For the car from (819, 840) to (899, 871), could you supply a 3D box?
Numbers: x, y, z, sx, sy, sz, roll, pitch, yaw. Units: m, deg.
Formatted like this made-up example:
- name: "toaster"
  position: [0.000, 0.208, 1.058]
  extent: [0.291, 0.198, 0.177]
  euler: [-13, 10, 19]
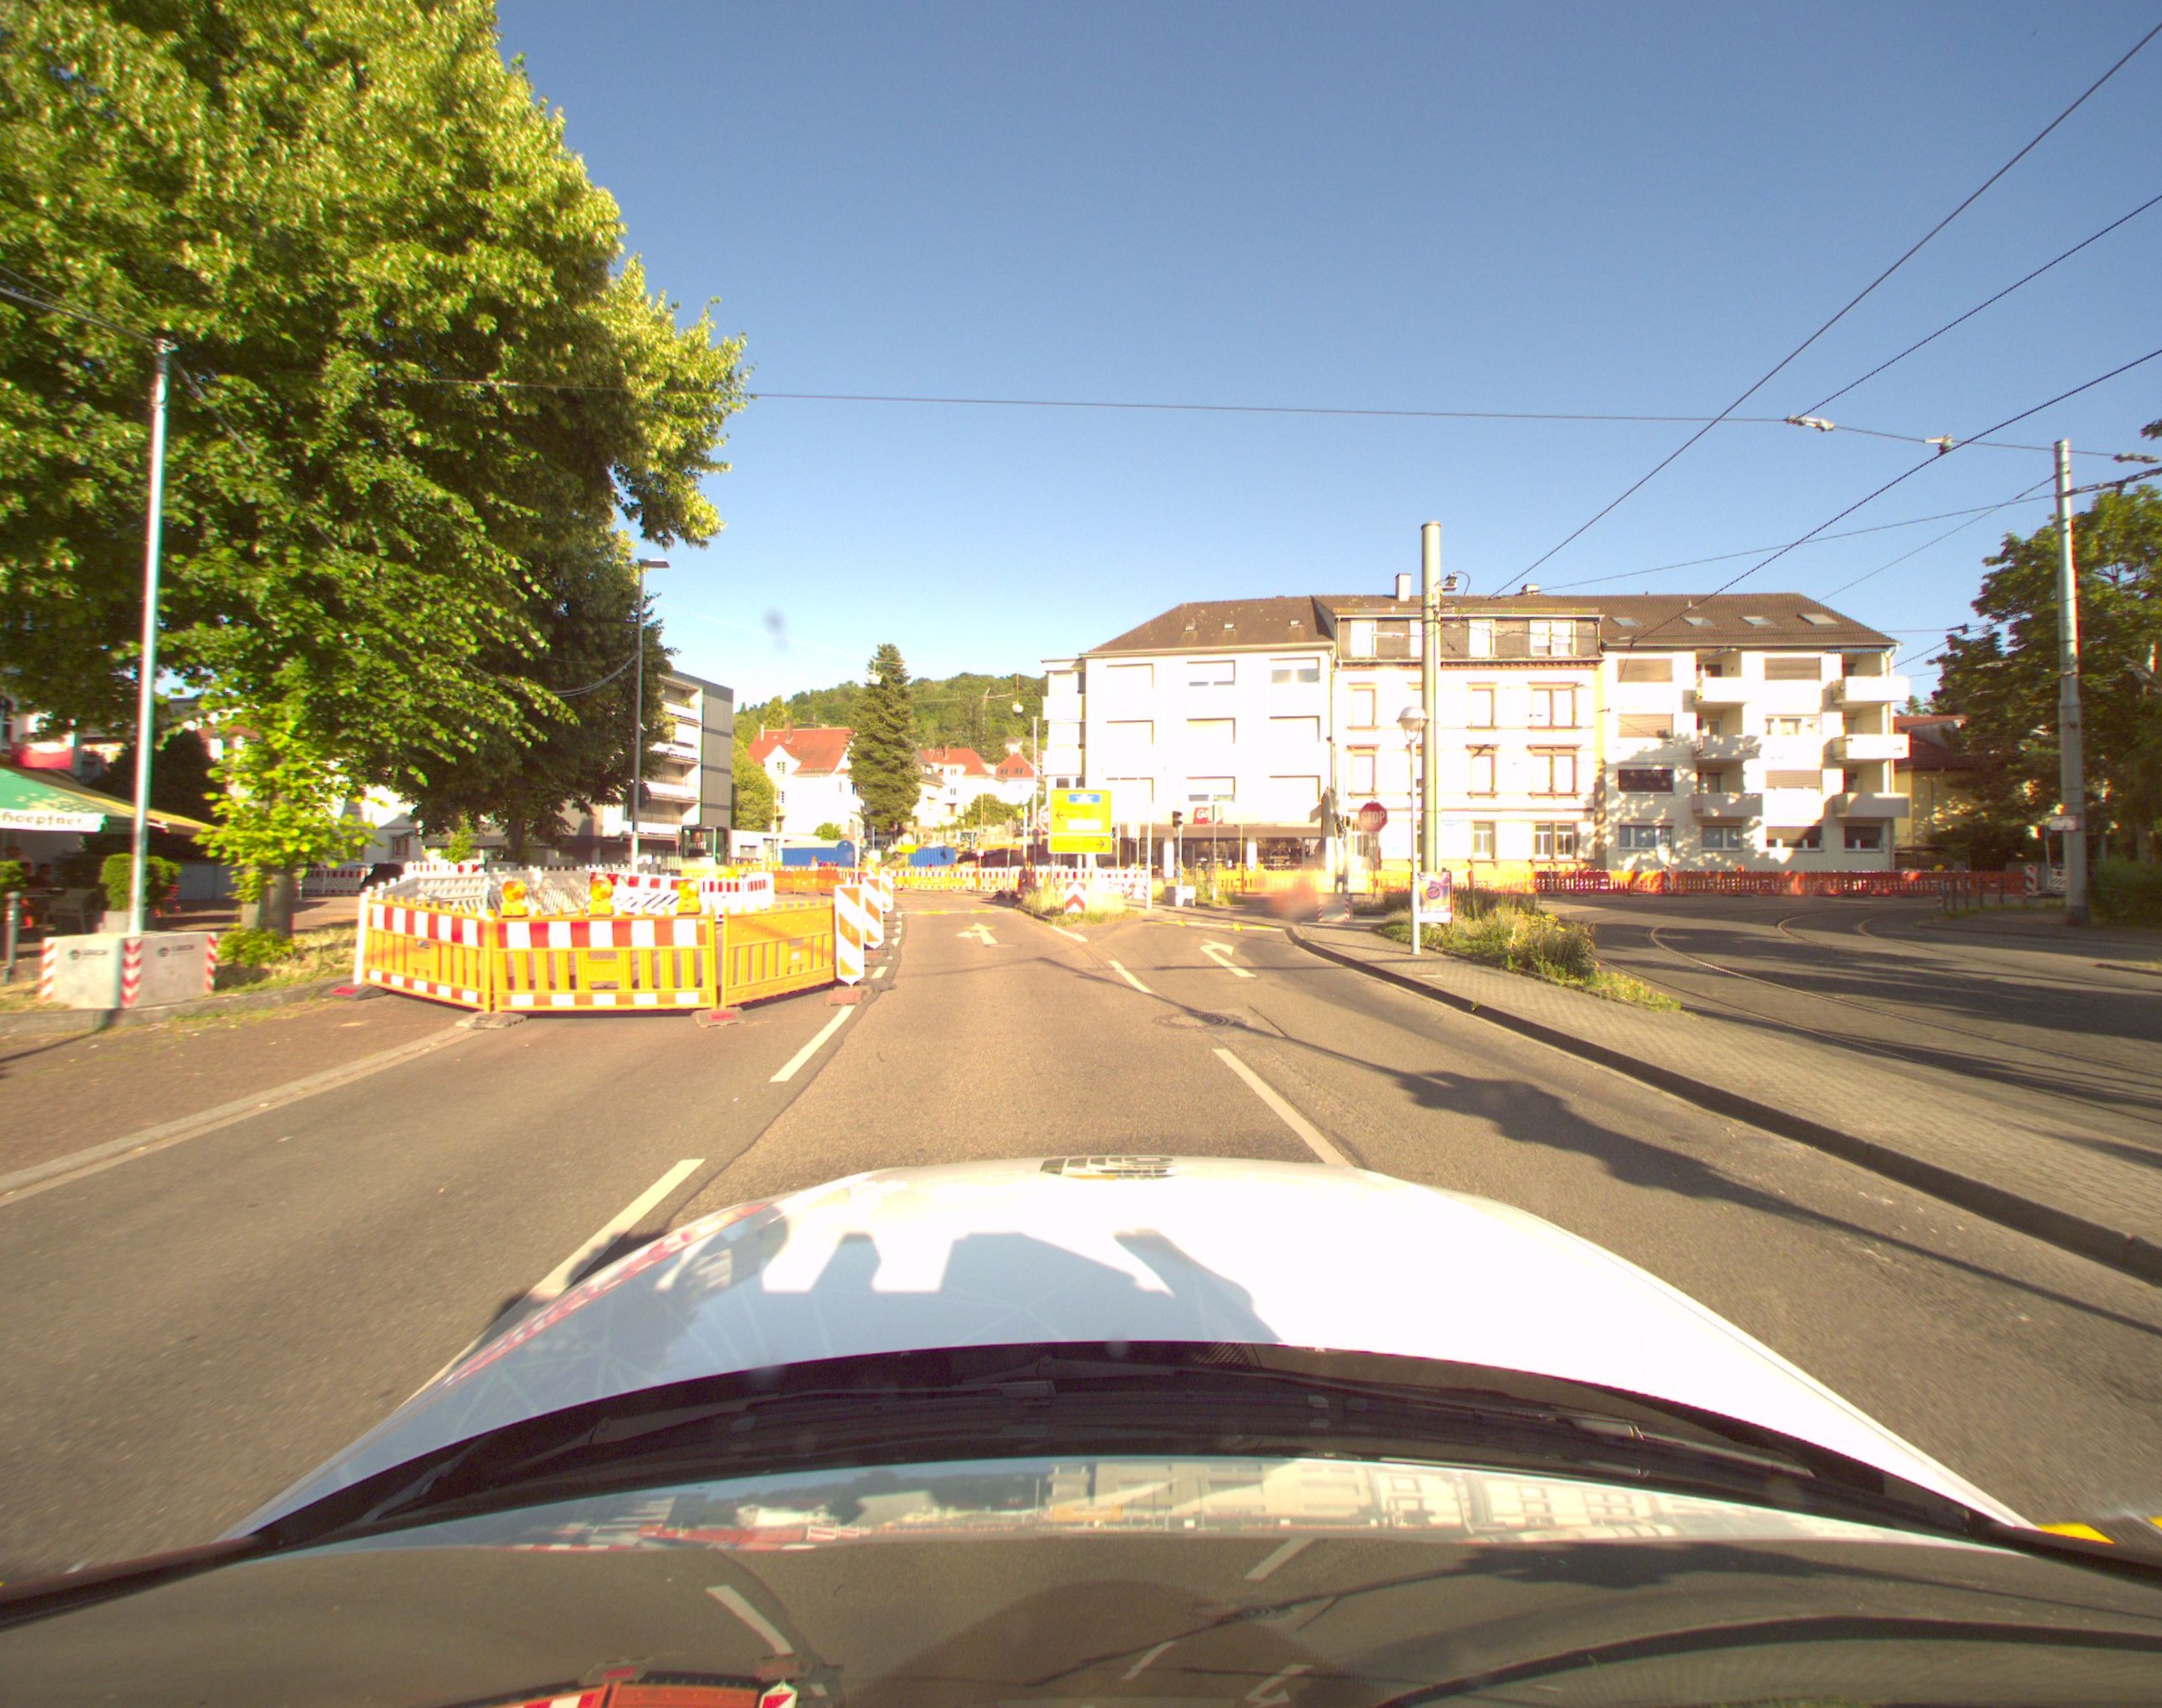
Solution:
- name: "car"
  position: [-16.005, 0.168, 59.227]
  extent: [2.562, 2.121, 6.180]
  euler: [-1, -1, 19]

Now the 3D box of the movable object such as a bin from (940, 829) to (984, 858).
- name: "movable object such as a bin"
  position: [-10.457, -0.877, 71.989]
  extent: [1.932, 2.494, 4.573]
  euler: [-1, -1, 19]

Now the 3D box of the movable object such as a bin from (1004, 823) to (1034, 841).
- name: "movable object such as a bin"
  position: [-8.191, -2.892, 107.931]
  extent: [2.549, 2.122, 5.799]
  euler: [-1, -1, 10]

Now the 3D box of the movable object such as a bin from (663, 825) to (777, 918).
- name: "movable object such as a bin"
  position: [-9.822, 0.449, 22.484]
  extent: [1.643, 2.325, 3.914]
  euler: [0, 0, -4]
